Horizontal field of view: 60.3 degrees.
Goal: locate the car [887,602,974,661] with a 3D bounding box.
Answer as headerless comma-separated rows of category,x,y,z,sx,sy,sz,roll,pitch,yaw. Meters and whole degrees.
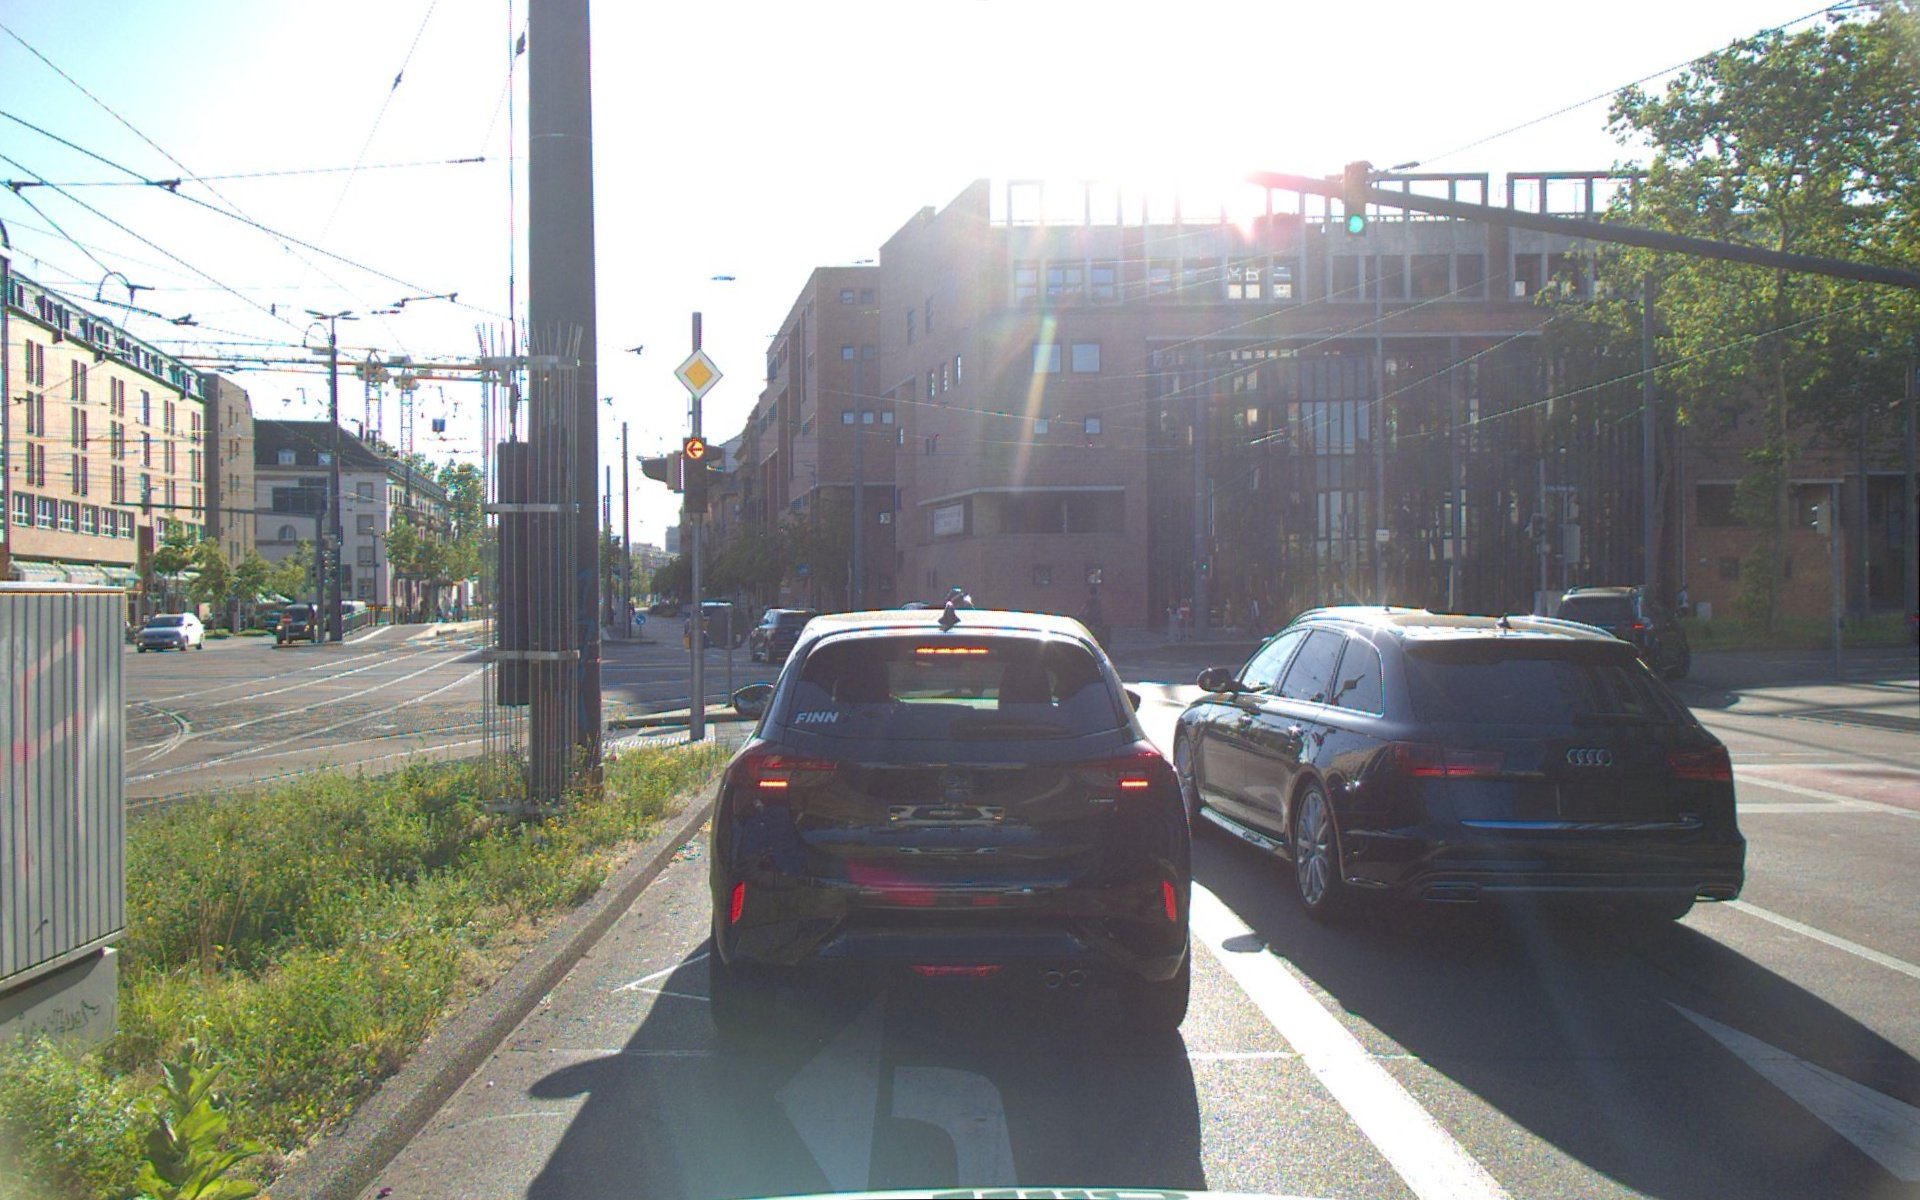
car,-0.847,0.828,45.202,1.774,1.483,3.990,1,0,-10

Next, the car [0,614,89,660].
car,-32.095,1.258,57.508,1.689,1.447,4.139,-3,0,-6

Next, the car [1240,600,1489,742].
car,4.669,0.762,19.691,1.771,1.483,3.997,1,0,-4

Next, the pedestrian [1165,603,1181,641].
pedestrian,8.209,0.839,63.766,0.519,1.455,0.598,-1,0,-1

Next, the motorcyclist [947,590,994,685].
motorcyclist,0.182,0.614,27.565,0.729,1.557,1.021,-1,0,2

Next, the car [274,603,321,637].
car,-31.217,0.922,78.026,1.718,1.531,3.861,-1,0,-18

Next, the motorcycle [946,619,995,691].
motorcycle,0.190,0.902,27.767,0.759,1.135,1.970,-1,0,2

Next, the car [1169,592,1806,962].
car,2.491,0.741,9.106,1.776,1.518,4.491,1,0,-5

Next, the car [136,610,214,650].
car,-31.477,1.178,66.419,1.542,1.474,3.996,-1,0,-5

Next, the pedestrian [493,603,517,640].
pedestrian,-20.722,0.958,75.349,0.730,1.669,0.764,-1,0,39

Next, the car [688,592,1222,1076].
car,0.000,0.711,7.035,1.615,1.458,4.000,0,0,0

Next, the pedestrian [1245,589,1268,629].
pedestrian,12.297,0.381,68.544,0.881,1.645,0.561,-1,0,8

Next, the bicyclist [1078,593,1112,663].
bicyclist,3.582,0.730,43.873,0.569,1.822,0.857,-1,0,-23

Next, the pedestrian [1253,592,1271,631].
pedestrian,12.618,0.477,69.137,0.722,1.645,0.561,-1,0,8

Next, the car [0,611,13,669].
car,-27.831,1.147,45.131,1.957,1.624,4.727,-1,0,-10

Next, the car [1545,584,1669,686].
car,12.065,0.605,31.066,1.952,1.780,4.330,-1,0,19

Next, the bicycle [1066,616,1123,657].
bicycle,3.568,0.956,43.979,0.485,1.015,2.311,-1,0,-23

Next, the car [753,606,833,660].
car,-4.553,0.856,44.680,1.707,1.373,3.988,0,0,-12

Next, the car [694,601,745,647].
car,-9.327,0.898,64.022,1.706,1.680,3.988,0,0,-12

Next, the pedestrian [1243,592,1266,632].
pedestrian,12.062,0.488,67.666,0.881,1.645,0.561,-1,0,8

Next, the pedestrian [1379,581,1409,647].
pedestrian,11.979,0.384,45.676,0.692,1.789,0.560,-1,0,25
